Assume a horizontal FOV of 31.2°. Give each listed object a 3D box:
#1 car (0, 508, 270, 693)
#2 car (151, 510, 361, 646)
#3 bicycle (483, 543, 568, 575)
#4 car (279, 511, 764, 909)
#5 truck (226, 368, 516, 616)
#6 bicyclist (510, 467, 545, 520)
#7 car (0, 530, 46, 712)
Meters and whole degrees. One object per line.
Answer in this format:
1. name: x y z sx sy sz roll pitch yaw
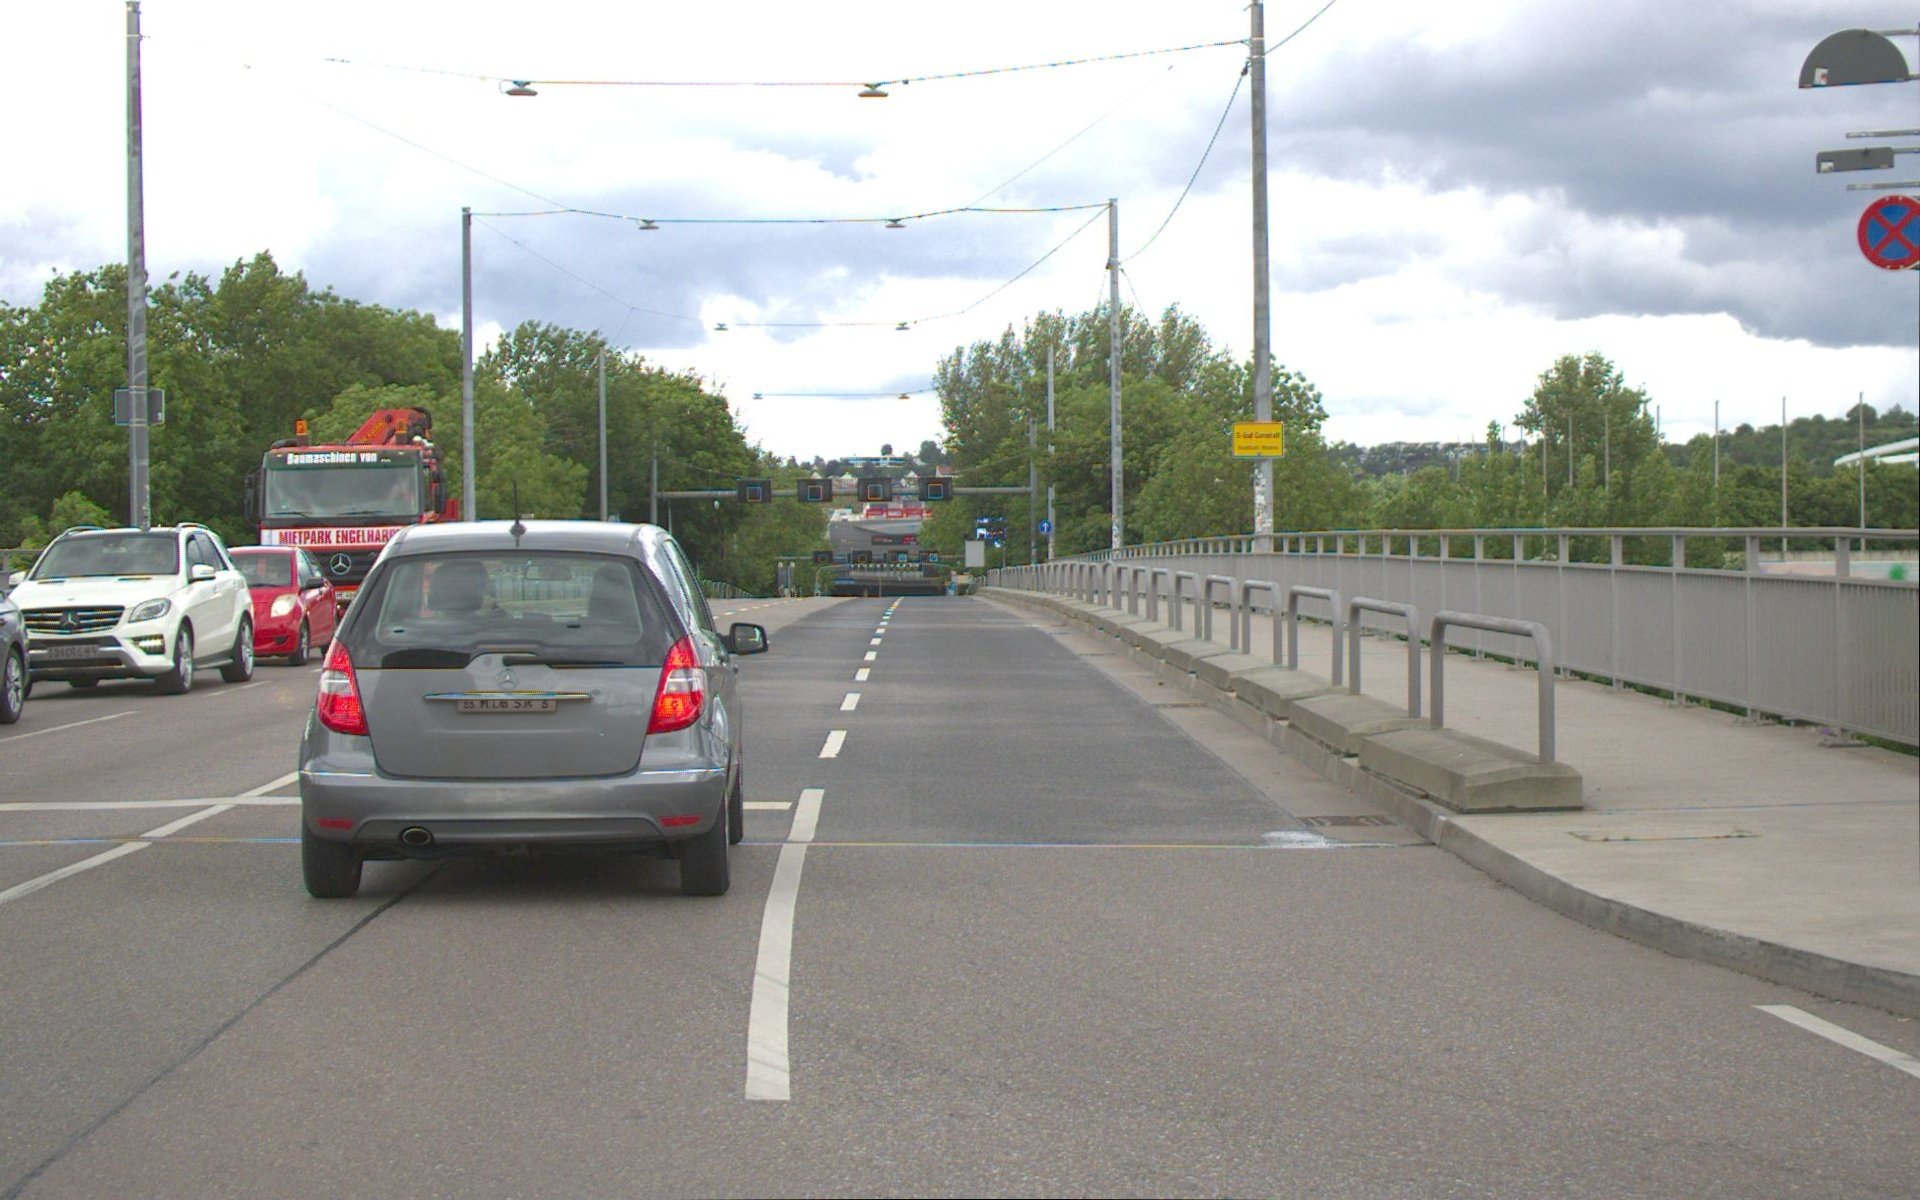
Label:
1. car: -8.625 -0.059 35.967 1.880 1.755 4.803 -1 2 -1
2. car: -8.942 -0.319 43.982 1.880 1.597 4.016 -1 2 -1
3. bicycle: -14.538 -1.371 115.051 2.790 1.047 0.921 0 1 -5
4. car: -1.835 0.383 15.439 1.745 1.545 3.871 0 2 -1
5. truck: -9.247 -1.716 55.235 3.005 3.553 9.983 -1 2 -1
6. bicyclist: -14.479 -3.550 115.028 1.132 1.758 0.905 0 1 -5
7. car: -8.930 0.225 27.916 1.835 1.499 4.517 -1 2 -1
